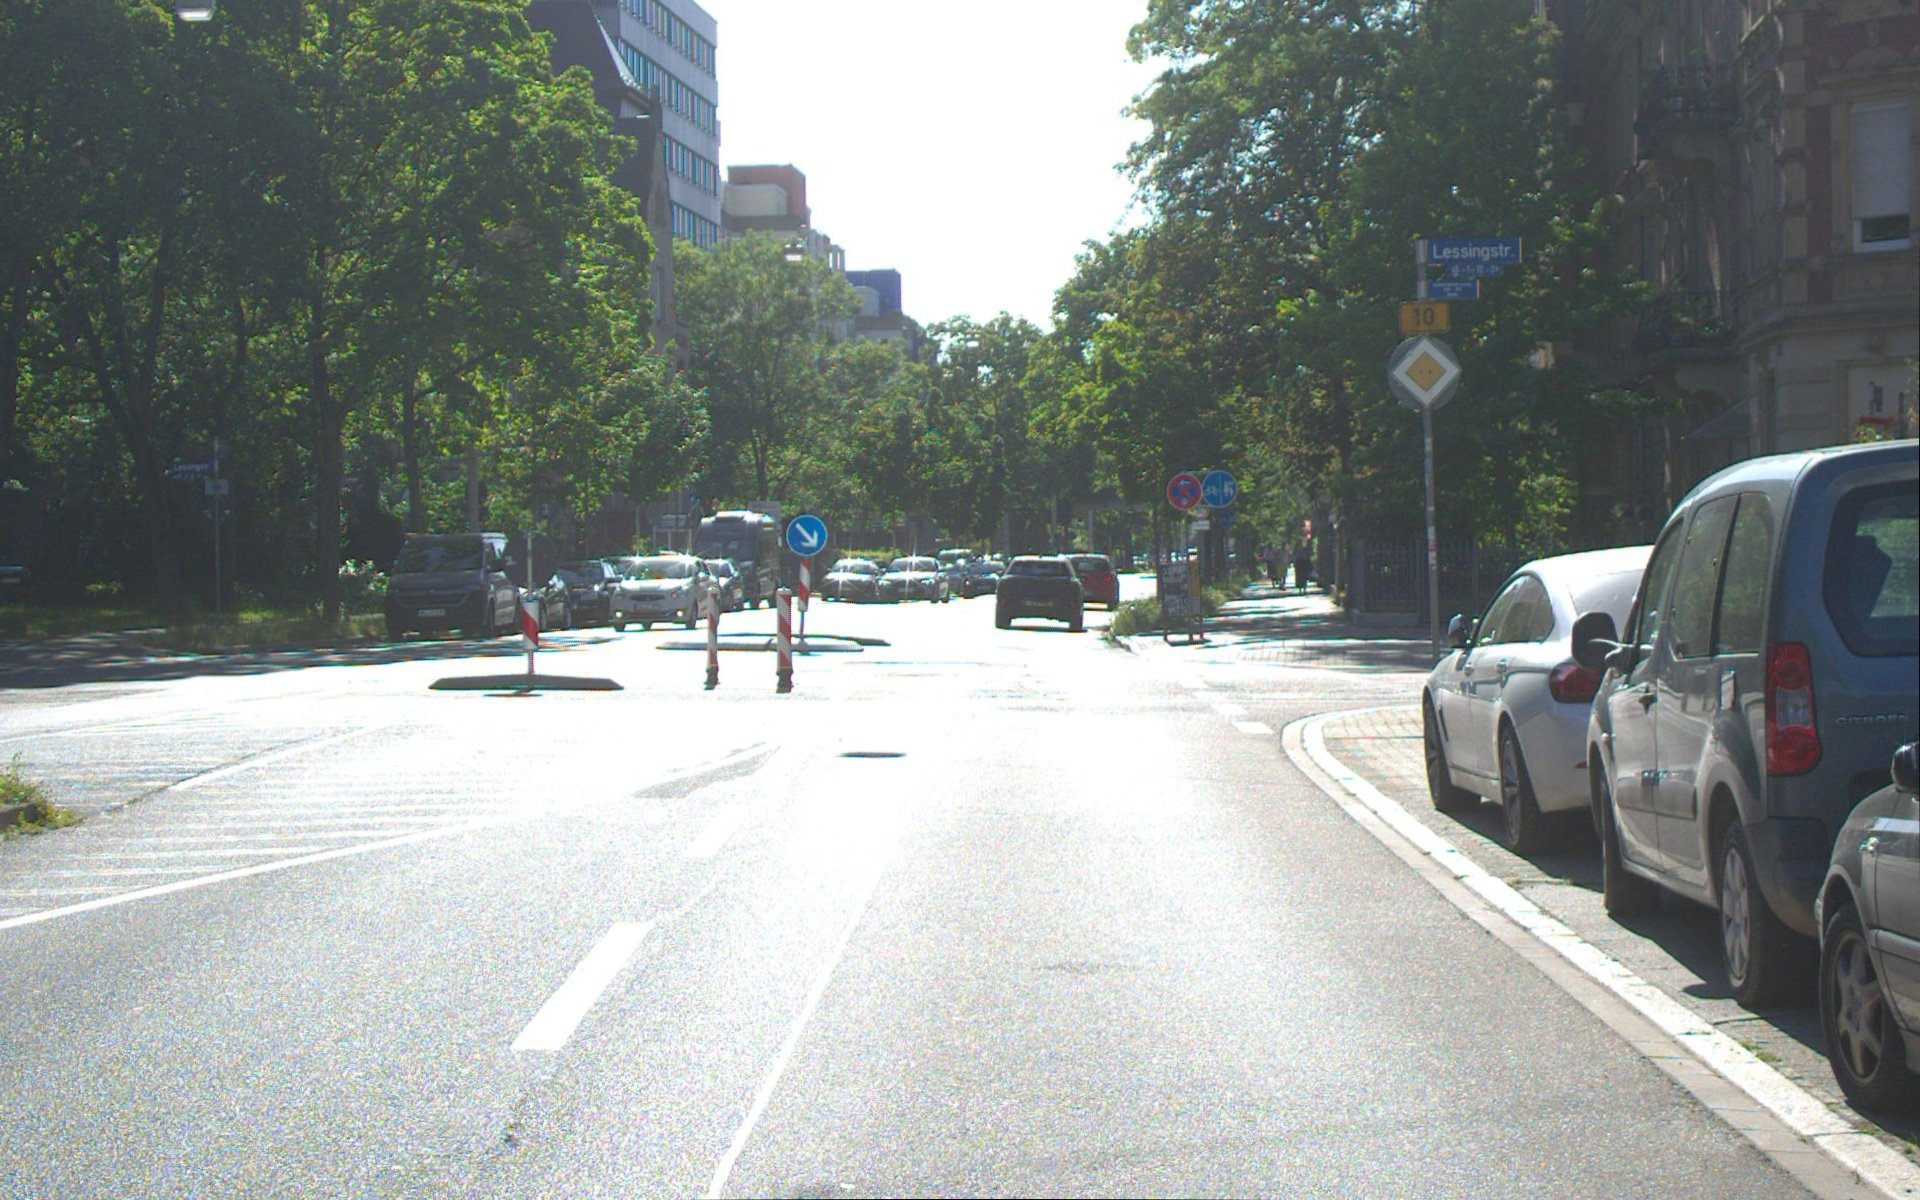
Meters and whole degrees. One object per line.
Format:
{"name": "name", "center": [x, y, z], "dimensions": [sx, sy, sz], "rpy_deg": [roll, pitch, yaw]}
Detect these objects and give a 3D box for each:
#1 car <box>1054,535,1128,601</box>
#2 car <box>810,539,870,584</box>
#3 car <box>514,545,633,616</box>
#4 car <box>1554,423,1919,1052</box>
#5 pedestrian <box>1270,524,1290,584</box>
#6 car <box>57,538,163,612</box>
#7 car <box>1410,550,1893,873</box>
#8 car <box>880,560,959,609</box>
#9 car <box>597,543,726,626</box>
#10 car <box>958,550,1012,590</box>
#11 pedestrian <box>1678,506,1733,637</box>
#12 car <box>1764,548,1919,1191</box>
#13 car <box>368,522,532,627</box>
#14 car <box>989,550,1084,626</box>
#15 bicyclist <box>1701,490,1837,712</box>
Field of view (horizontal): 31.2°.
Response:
{"name": "car", "center": [3.560, -0.879, 93.009], "dimensions": [1.819, 1.734, 3.999], "rpy_deg": [0, 1, 5]}
{"name": "car", "center": [-4.171, -1.349, 119.932], "dimensions": [1.802, 1.499, 3.808], "rpy_deg": [-1, 1, 2]}
{"name": "car", "center": [-8.646, -0.456, 77.154], "dimensions": [1.759, 1.514, 3.858], "rpy_deg": [0, 1, 8]}
{"name": "car", "center": [3.317, 0.344, 12.208], "dimensions": [1.819, 1.837, 4.364], "rpy_deg": [-1, 1, 3]}
{"name": "pedestrian", "center": [10.940, -1.574, 117.433], "dimensions": [0.614, 2.007, 0.681], "rpy_deg": [-1, 1, 1]}
{"name": "car", "center": [-19.798, -0.592, 79.970], "dimensions": [1.974, 1.656, 4.001], "rpy_deg": [-1, 1, -20]}
{"name": "car", "center": [3.393, 0.473, 17.607], "dimensions": [1.709, 1.420, 4.206], "rpy_deg": [-1, 1, 1]}
{"name": "car", "center": [-1.201, -0.478, 104.957], "dimensions": [1.785, 1.455, 4.414], "rpy_deg": [0, 0, 8]}
{"name": "car", "center": [-5.999, -0.339, 69.479], "dimensions": [1.759, 1.514, 3.858], "rpy_deg": [-1, 2, 8]}
{"name": "car", "center": [0.995, -1.211, 137.168], "dimensions": [1.639, 1.514, 4.029], "rpy_deg": [0, 1, 8]}
{"name": "pedestrian", "center": [10.469, -0.396, 48.294], "dimensions": [0.656, 1.810, 0.751], "rpy_deg": [0, -2, 6]}
{"name": "car", "center": [3.029, 0.632, 7.610], "dimensions": [1.668, 1.463, 4.274], "rpy_deg": [0, 1, 3]}
{"name": "car", "center": [-9.730, -0.514, 65.996], "dimensions": [2.199, 1.923, 4.862], "rpy_deg": [0, 1, 3]}
{"name": "car", "center": [1.619, -0.282, 72.600], "dimensions": [1.894, 1.514, 4.000], "rpy_deg": [2, 1, 1]}
{"name": "bicyclist", "center": [5.886, -0.008, 25.062], "dimensions": [0.741, 1.574, 1.100], "rpy_deg": [0, 2, 2]}
